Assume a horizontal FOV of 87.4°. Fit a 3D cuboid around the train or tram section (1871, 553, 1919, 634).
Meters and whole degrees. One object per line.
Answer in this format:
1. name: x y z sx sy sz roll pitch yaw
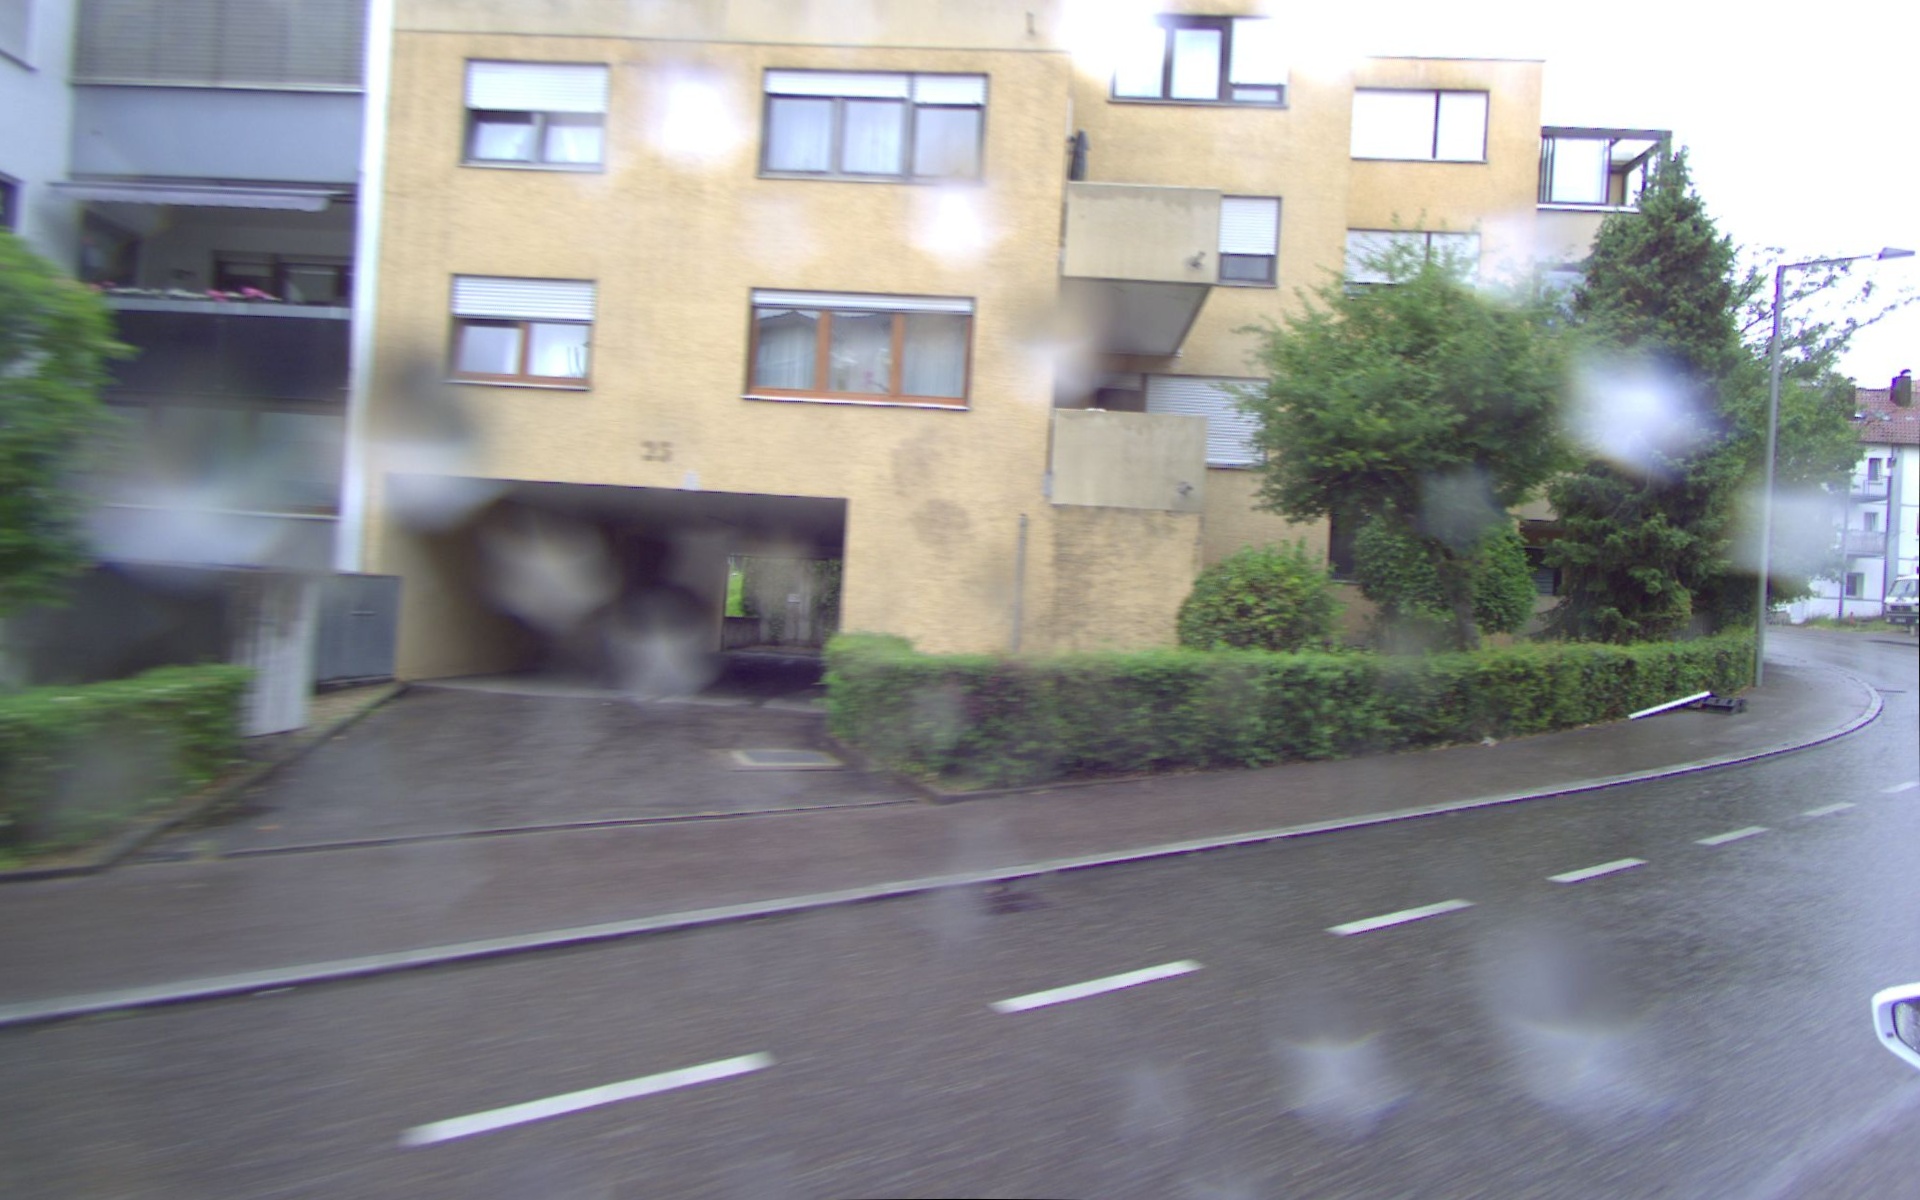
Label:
1. train or tram section: 41.636 -0.228 40.813 6.731 3.246 2.367 0 0 6
